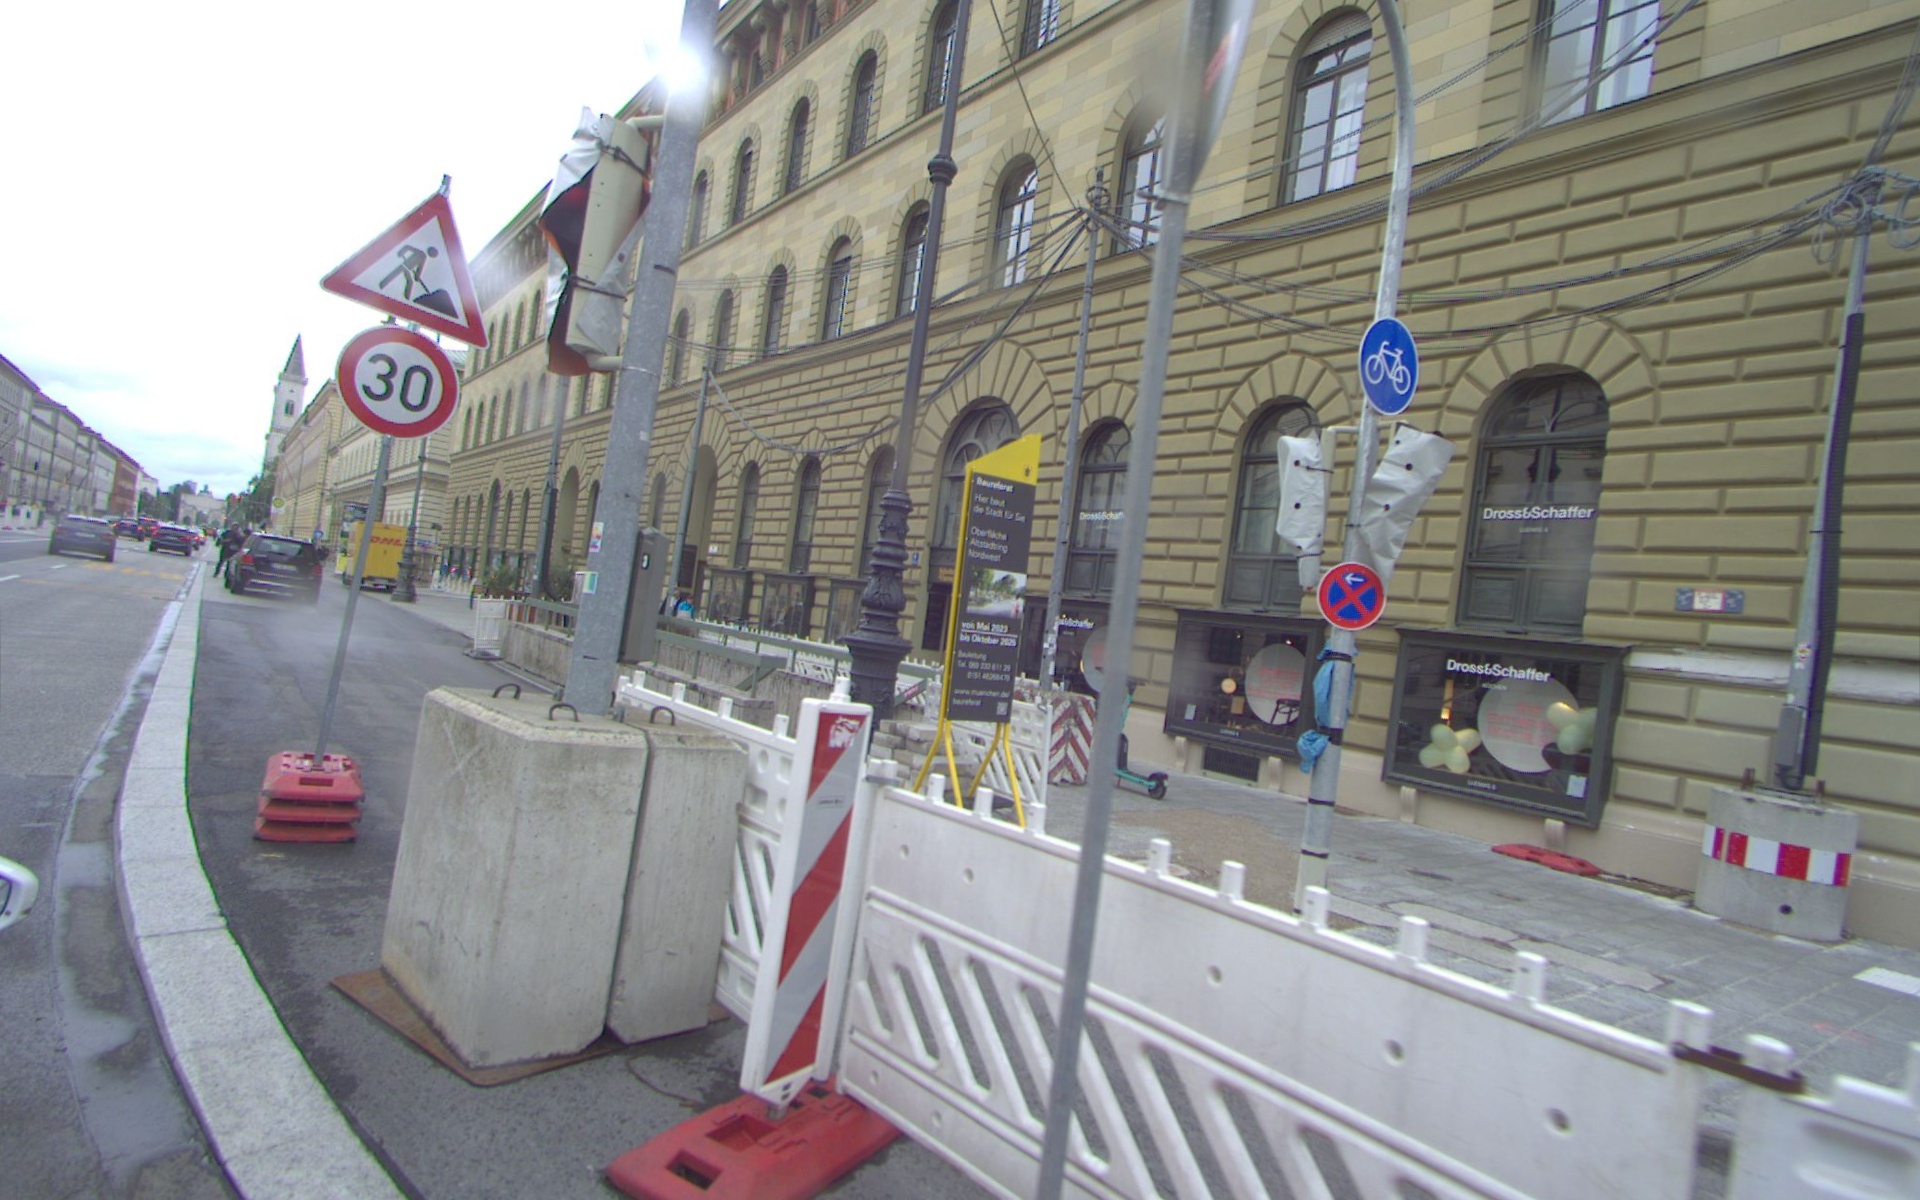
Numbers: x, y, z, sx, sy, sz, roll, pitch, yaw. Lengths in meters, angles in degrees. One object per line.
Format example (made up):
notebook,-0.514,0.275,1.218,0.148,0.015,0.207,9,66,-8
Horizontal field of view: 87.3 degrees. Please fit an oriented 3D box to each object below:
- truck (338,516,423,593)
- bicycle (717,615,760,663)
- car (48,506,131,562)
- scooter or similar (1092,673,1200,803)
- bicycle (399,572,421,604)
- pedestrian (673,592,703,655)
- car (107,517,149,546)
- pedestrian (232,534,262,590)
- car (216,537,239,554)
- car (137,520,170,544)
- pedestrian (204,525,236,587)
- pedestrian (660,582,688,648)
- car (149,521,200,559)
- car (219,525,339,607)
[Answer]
truck,-25.568,-1.941,44.254,2.607,2.795,5.758,9,-3,-33
bicycle,-5.594,0.975,25.357,0.375,1.034,1.635,8,-1,-34
car,-31.115,-2.310,36.062,1.760,1.634,3.962,9,-3,-36
scooter or similar,2.032,1.498,11.088,0.348,1.264,1.130,8,-3,-34
bicycle,-19.660,-0.437,35.939,0.514,1.033,1.638,8,-3,-30
pedestrian,-7.098,0.618,26.223,0.494,1.572,0.628,8,-2,-23
car,-62.622,-5.121,75.776,1.984,1.792,3.961,9,-2,-36
pedestrian,-23.458,-1.244,33.106,0.612,1.721,0.536,8,-2,-34
car,-83.133,-6.170,114.155,1.851,1.596,3.962,9,-3,-36
car,-71.491,-6.032,89.207,1.984,1.792,3.961,9,-2,-36
pedestrian,-24.046,-1.426,32.696,0.612,1.896,0.537,8,-2,-33
pedestrian,-7.940,0.422,27.956,0.550,1.731,0.675,8,-2,-15
car,-44.670,-3.403,57.258,1.984,1.792,3.961,9,-2,-36
car,-17.949,-0.936,26.435,2.062,1.680,4.177,11,-3,-39
